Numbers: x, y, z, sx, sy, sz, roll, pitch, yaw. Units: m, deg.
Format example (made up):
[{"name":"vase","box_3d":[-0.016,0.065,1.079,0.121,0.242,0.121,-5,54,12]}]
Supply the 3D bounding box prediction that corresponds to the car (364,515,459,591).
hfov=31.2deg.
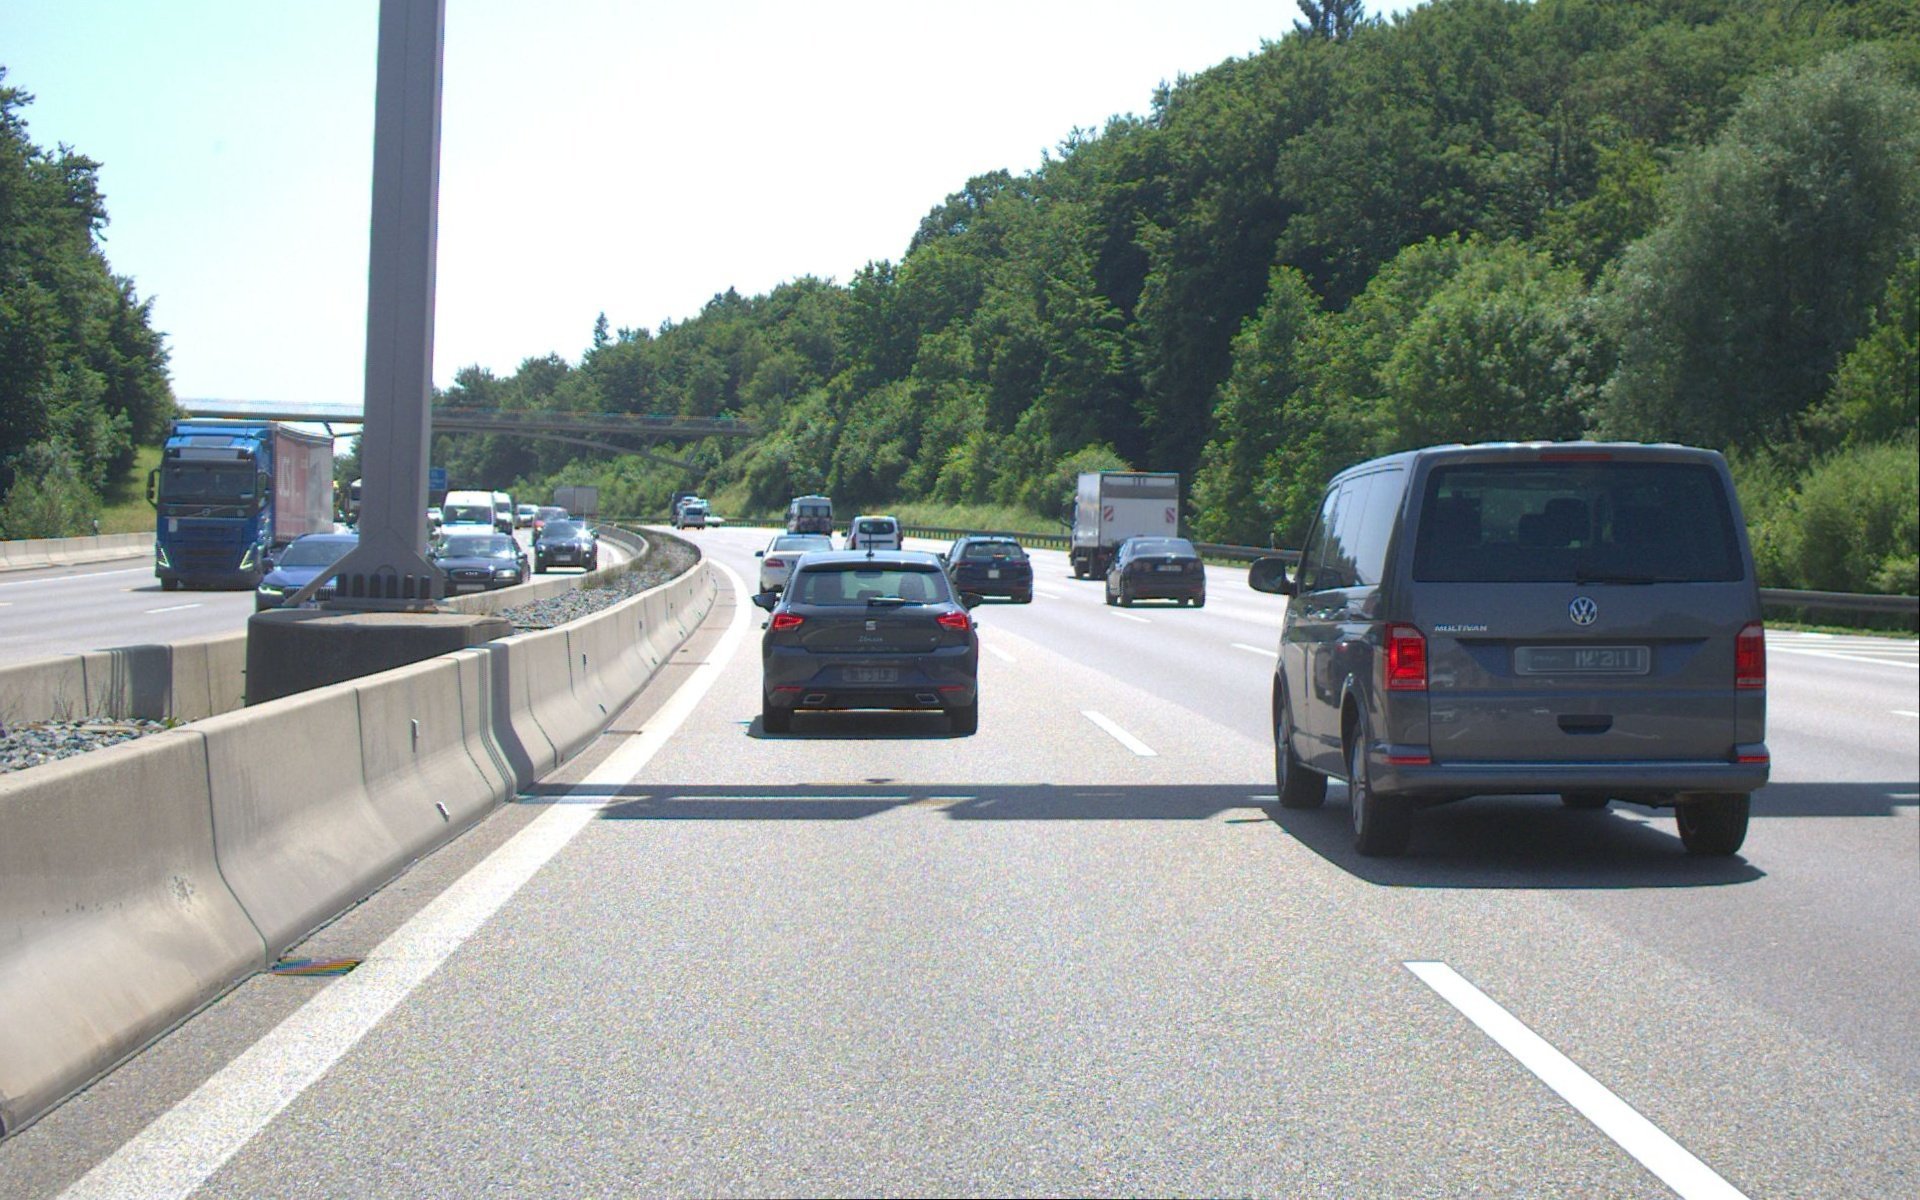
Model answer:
[{"name":"car","box_3d":[-14.638,-1.275,91.902,1.993,1.960,4.784,0,1,-3]}]

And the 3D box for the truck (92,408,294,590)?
[{"name":"truck","box_3d":[-18.500,-2.403,83.349,3.785,4.163,5.880,2,1,-3]}]

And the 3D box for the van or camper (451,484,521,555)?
[{"name":"van or camper","box_3d":[-17.384,-2.943,126.335,2.099,2.557,6.401,0,1,-4]}]

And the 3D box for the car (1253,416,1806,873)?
[{"name":"car","box_3d":[2.763,0.157,17.915,1.963,2.026,5.084,0,1,-1]}]

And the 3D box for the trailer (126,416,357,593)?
[{"name":"trailer","box_3d":[-19.026,-2.465,92.228,3.835,4.265,14.478,2,1,-3]}]

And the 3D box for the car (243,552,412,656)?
[{"name":"car","box_3d":[-9.575,0.061,52.360,1.853,1.513,4.522,0,0,-2]}]

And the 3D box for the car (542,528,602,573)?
[{"name":"car","box_3d":[-12.117,-1.555,107.527,1.640,1.345,4.001,2,1,-4]}]

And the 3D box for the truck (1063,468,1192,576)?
[{"name":"truck","box_3d":[5.041,-2.398,104.951,2.985,3.156,7.576,1,2,-4]}]

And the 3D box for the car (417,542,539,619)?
[{"name":"car","box_3d":[-9.920,-0.422,71.053,1.956,1.513,5.134,0,1,-2]}]

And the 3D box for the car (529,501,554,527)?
[{"name":"car","box_3d":[-30.653,-6.326,251.770,1.818,1.865,4.590,0,2,-7]}]

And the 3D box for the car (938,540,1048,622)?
[{"name":"car","box_3d":[0.691,-0.394,74.761,1.993,1.722,4.150,0,0,-5]}]

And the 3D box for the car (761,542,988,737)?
[{"name":"car","box_3d":[-0.707,0.268,28.182,1.708,1.428,4.001,1,1,-2]}]

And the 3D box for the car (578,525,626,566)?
[{"name":"car","box_3d":[-17.837,-2.708,171.621,2.236,2.007,4.230,0,0,-4]}]

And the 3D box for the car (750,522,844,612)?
[{"name":"car","box_3d":[-3.621,-0.714,76.808,2.012,1.839,4.000,1,-2,-2]}]

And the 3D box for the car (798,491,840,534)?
[{"name":"car","box_3d":[-7.876,-4.874,192.420,2.265,2.363,4.702,0,1,-2]}]

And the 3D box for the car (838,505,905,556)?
[{"name":"car","box_3d":[-3.130,-2.450,120.677,2.103,1.738,4.689,1,2,-5]}]

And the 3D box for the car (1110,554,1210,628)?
[{"name":"car","box_3d":[4.140,-0.212,71.827,1.665,1.403,4.904,1,2,-2]}]

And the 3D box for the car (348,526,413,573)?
[{"name":"car","box_3d":[-21.965,-1.904,130.422,1.993,1.756,5.070,0,1,-5]}]
